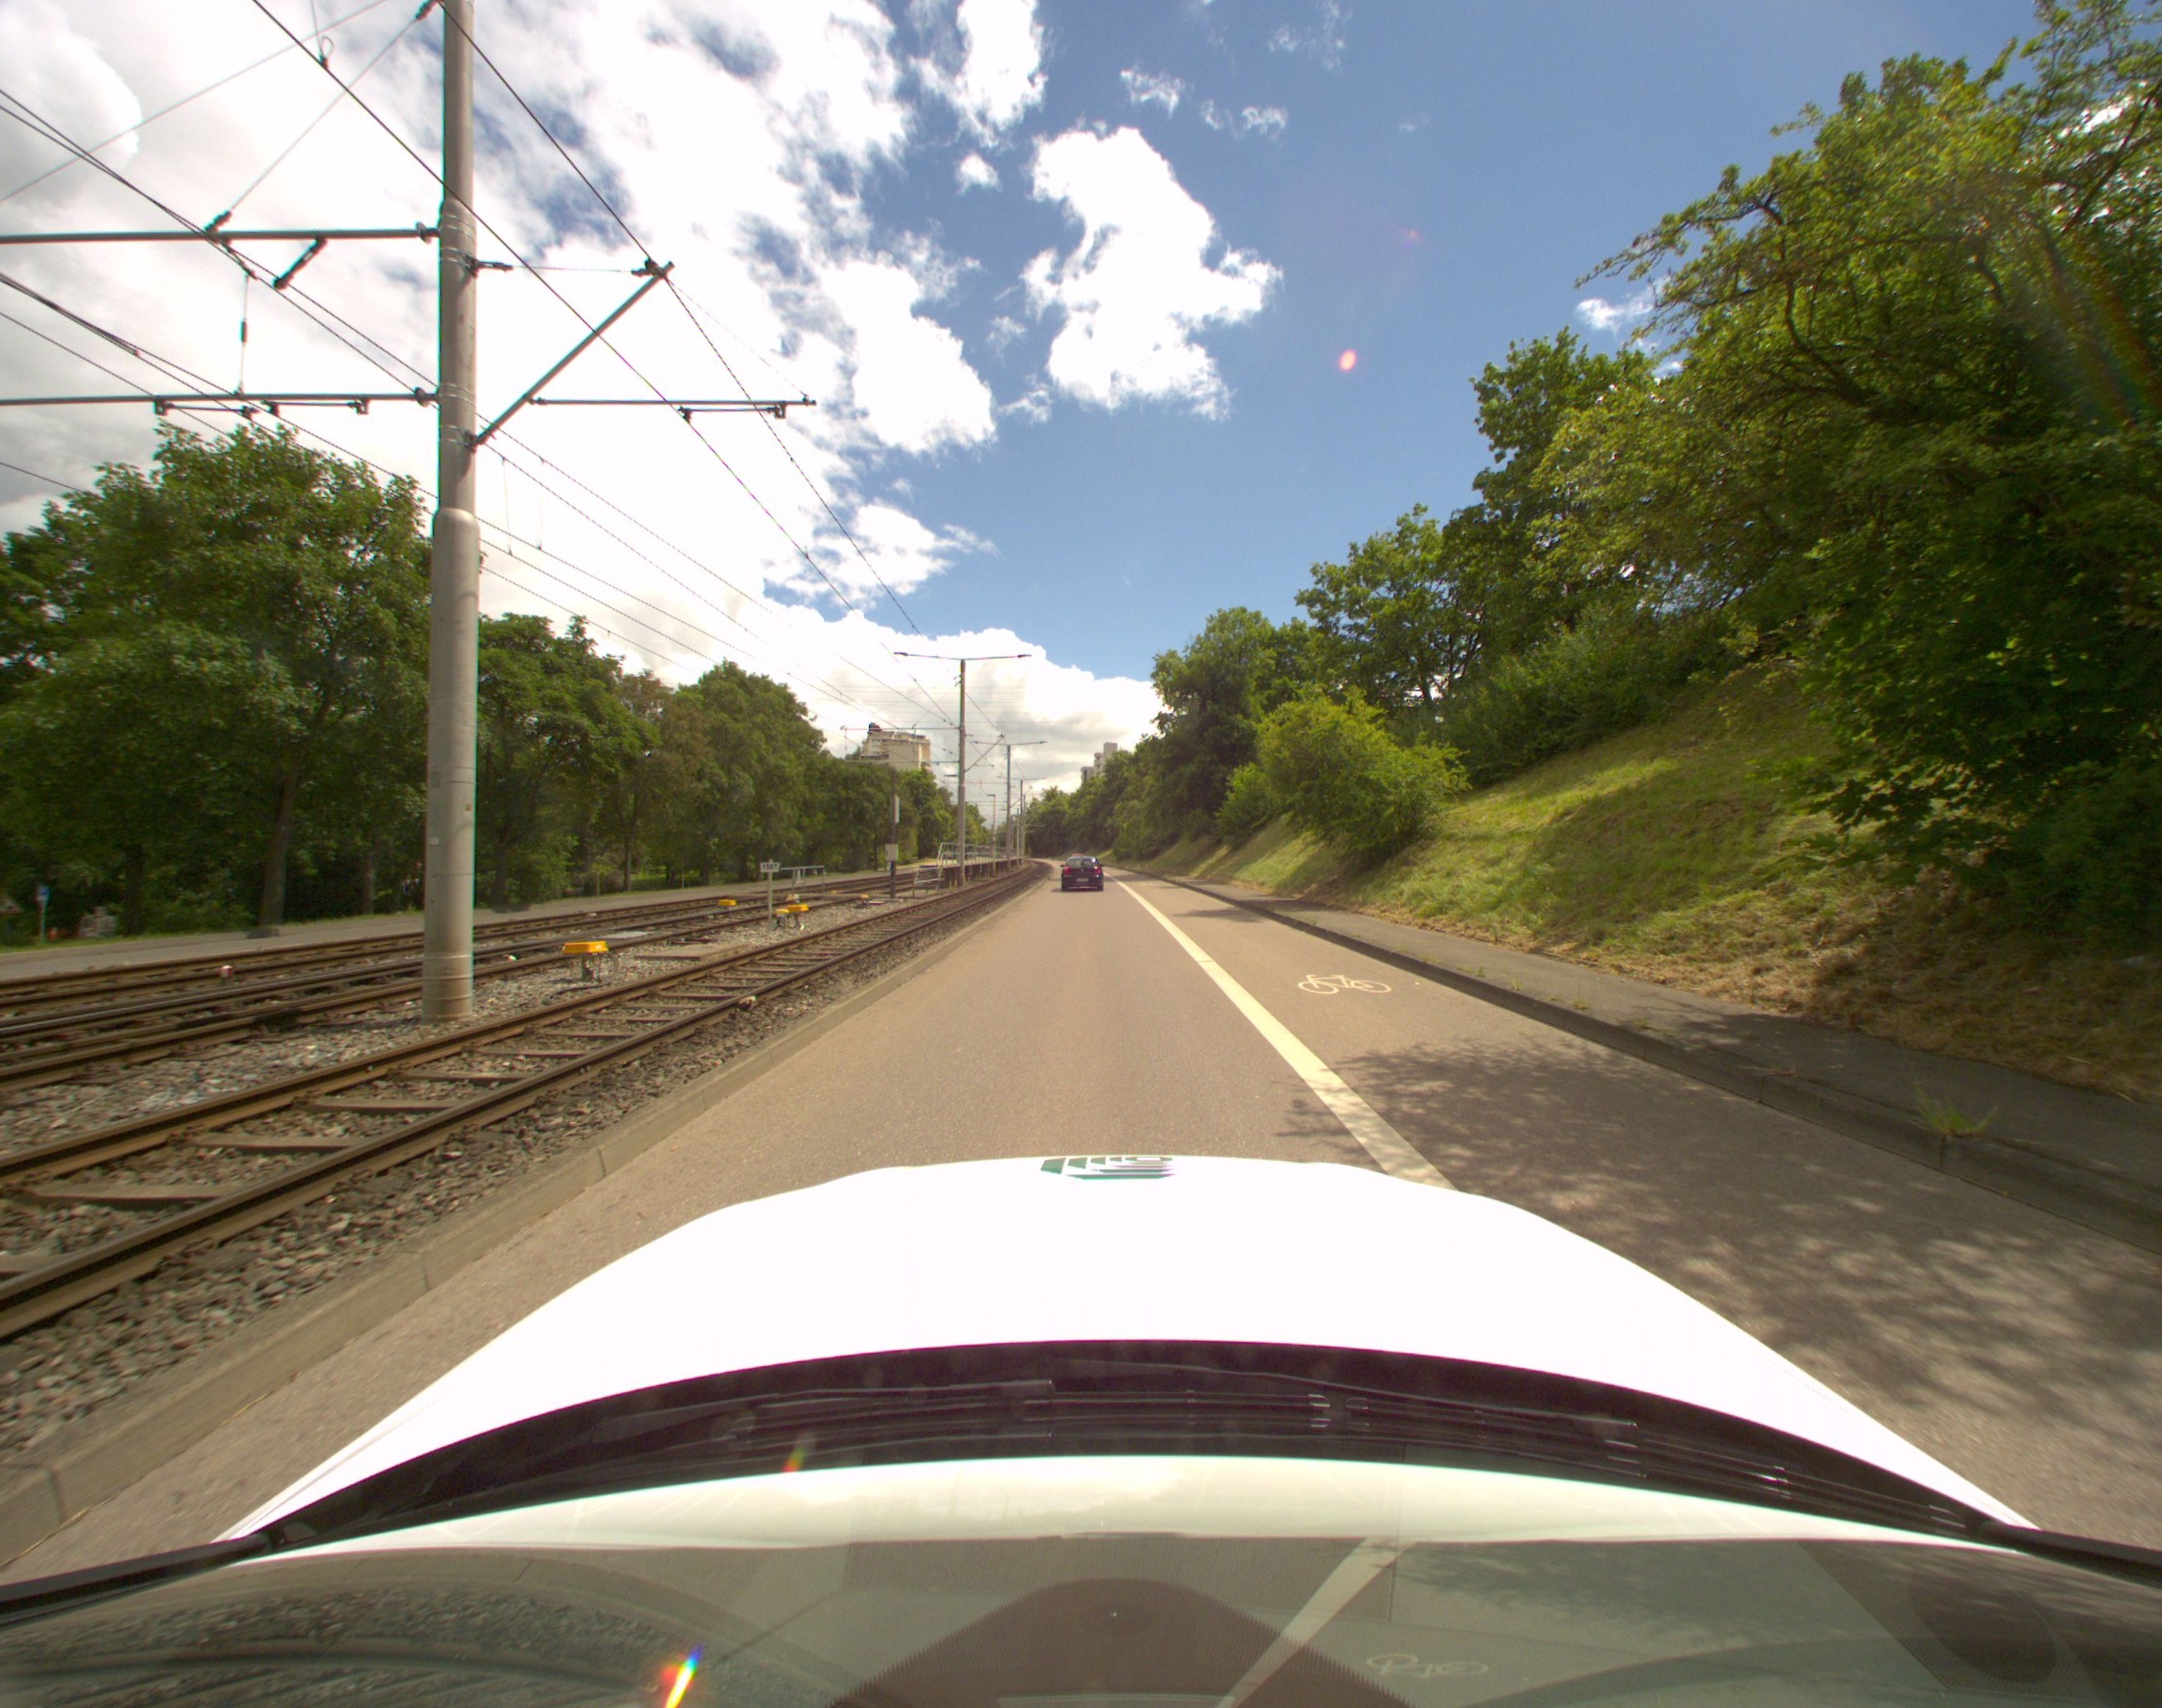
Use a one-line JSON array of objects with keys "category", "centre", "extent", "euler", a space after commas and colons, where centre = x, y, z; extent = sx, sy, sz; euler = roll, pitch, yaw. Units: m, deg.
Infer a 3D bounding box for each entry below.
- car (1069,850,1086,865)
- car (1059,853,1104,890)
[{"category": "car", "centre": [-0.321, 0.350, 85.062], "extent": [1.618, 1.443, 3.423], "euler": [1, 3, 1]}, {"category": "car", "centre": [0.081, 0.711, 34.238], "extent": [1.702, 1.460, 3.962], "euler": [1, -1, 2]}]
